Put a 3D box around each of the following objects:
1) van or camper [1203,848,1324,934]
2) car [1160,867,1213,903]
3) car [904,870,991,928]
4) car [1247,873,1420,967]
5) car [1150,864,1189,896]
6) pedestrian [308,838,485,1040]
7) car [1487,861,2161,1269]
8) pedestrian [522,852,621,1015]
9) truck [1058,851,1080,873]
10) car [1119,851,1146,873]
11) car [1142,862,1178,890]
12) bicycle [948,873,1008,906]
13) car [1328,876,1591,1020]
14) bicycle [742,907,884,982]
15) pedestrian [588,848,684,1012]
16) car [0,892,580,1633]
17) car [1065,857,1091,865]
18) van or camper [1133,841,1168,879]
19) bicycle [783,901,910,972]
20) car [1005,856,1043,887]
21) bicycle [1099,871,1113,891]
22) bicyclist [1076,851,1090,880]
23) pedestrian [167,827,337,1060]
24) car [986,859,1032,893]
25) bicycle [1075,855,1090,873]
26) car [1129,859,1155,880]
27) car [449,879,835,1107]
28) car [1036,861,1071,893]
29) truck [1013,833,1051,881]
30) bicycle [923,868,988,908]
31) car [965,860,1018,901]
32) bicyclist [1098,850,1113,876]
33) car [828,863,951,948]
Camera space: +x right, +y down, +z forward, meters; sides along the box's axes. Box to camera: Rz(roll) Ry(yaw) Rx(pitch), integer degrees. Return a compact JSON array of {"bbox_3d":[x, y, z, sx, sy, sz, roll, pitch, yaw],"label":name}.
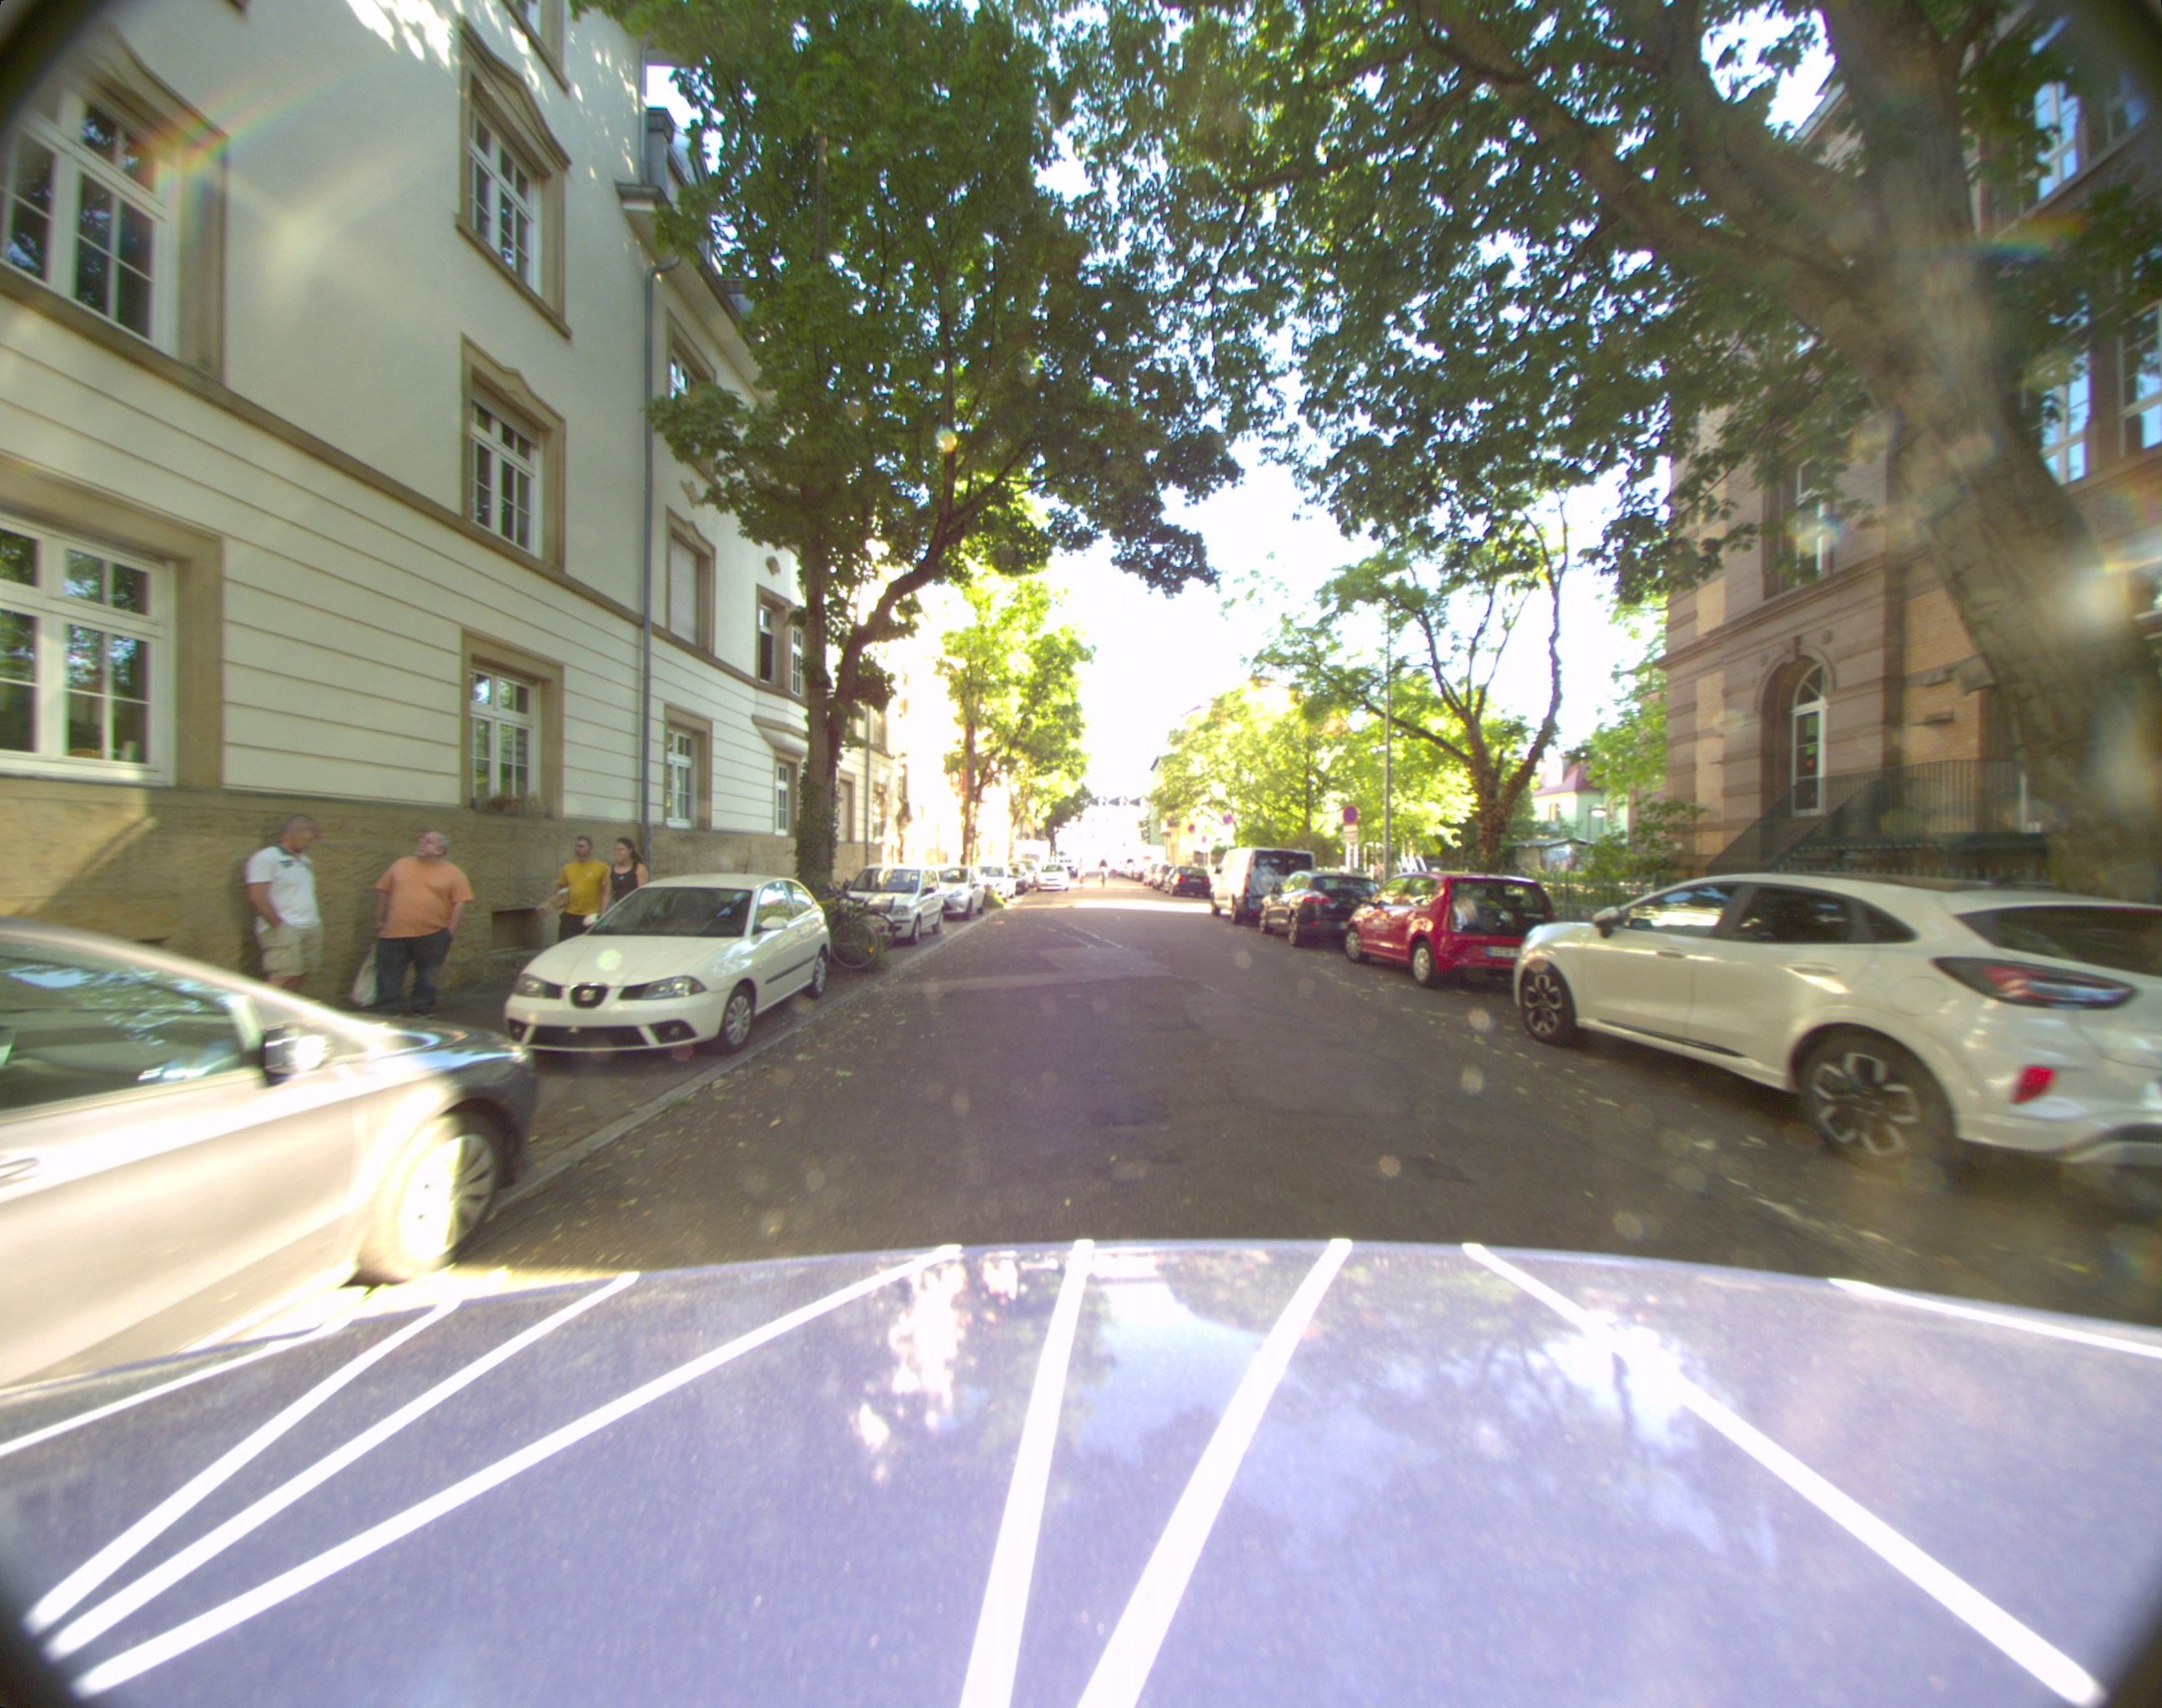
[{"bbox_3d":[4.830,0.891,21.021,1.926,1.968,5.461,3,0,0],"label":"van or camper"},{"bbox_3d":[4.862,1.376,35.556,1.718,1.387,4.779,4,0,0],"label":"car"},{"bbox_3d":[-3.642,1.179,21.344,1.626,1.386,4.157,0,0,1],"label":"car"},{"bbox_3d":[4.894,1.196,15.505,2.006,1.449,4.606,2,0,1],"label":"car"},{"bbox_3d":[4.810,1.382,41.856,1.680,1.563,4.152,3,0,1],"label":"car"},{"bbox_3d":[-6.093,0.712,6.818,0.780,1.684,0.874,1,1,0],"label":"pedestrian"},{"bbox_3d":[4.827,0.900,5.074,1.830,1.545,4.132,4,0,-2],"label":"car"},{"bbox_3d":[-5.485,0.824,8.215,0.597,1.691,0.689,0,0,2],"label":"pedestrian"},{"bbox_3d":[-1.113,0.749,71.418,1.833,1.937,5.541,-1,0,1],"label":"truck"},{"bbox_3d":[5.391,0.823,80.547,2.257,2.156,5.242,2,0,-1],"label":"car"},{"bbox_3d":[4.932,1.368,48.060,1.785,1.581,4.469,2,0,0],"label":"car"},{"bbox_3d":[-3.590,1.237,26.628,1.974,1.066,0.599,2,1,2],"label":"bicycle"},{"bbox_3d":[4.931,1.119,10.600,1.606,1.451,4.027,3,0,0],"label":"car"},{"bbox_3d":[-3.728,1.250,10.664,1.719,0.944,0.733,1,0,1],"label":"bicycle"},{"bbox_3d":[-4.912,0.797,8.433,0.521,1.725,0.878,0,0,2],"label":"pedestrian"},{"bbox_3d":[-3.297,0.964,1.501,1.794,1.542,4.408,0,0,-2],"label":"car"},{"bbox_3d":[-0.590,1.246,136.359,4.493,1.498,1.944,0,0,-6],"label":"car"},{"bbox_3d":[5.300,0.460,58.898,2.134,2.753,5.851,2,0,1],"label":"van or camper"},{"bbox_3d":[-3.648,1.276,11.886,1.774,1.033,0.606,-1,0,1],"label":"bicycle"},{"bbox_3d":[-3.301,0.971,44.864,1.890,1.706,4.944,0,0,-1],"label":"car"},{"bbox_3d":[1.458,1.589,45.006,0.741,1.054,1.858,-1,1,0],"label":"bicycle"},{"bbox_3d":[0.125,0.654,45.270,0.716,1.679,0.982,-3,0,5],"label":"bicyclist"},{"bbox_3d":[-6.444,0.656,5.941,0.491,1.696,0.757,1,1,0],"label":"pedestrian"},{"bbox_3d":[-3.390,0.989,36.462,1.791,1.505,4.459,-1,0,0],"label":"car"},{"bbox_3d":[0.091,0.586,45.280,0.707,1.039,1.858,-3,0,5],"label":"bicycle"},{"bbox_3d":[5.142,1.295,64.680,1.880,1.675,4.969,0,0,0],"label":"car"},{"bbox_3d":[-3.675,1.025,7.236,1.615,1.469,3.869,0,0,-3],"label":"car"},{"bbox_3d":[-1.375,1.162,39.762,1.683,1.535,3.800,-1,0,0],"label":"car"},{"bbox_3d":[-3.204,0.178,51.270,2.079,2.951,6.109,2,0,0],"label":"truck"},{"bbox_3d":[-4.148,1.117,25.152,1.974,1.222,0.760,2,0,2],"label":"bicycle"},{"bbox_3d":[-3.500,1.003,30.241,1.600,1.479,3.748,1,0,1],"label":"car"},{"bbox_3d":[1.445,0.527,44.922,0.757,1.556,0.981,-1,0,0],"label":"bicyclist"},{"bbox_3d":[-3.737,0.945,15.408,1.524,1.502,3.544,0,0,1],"label":"car"}]
